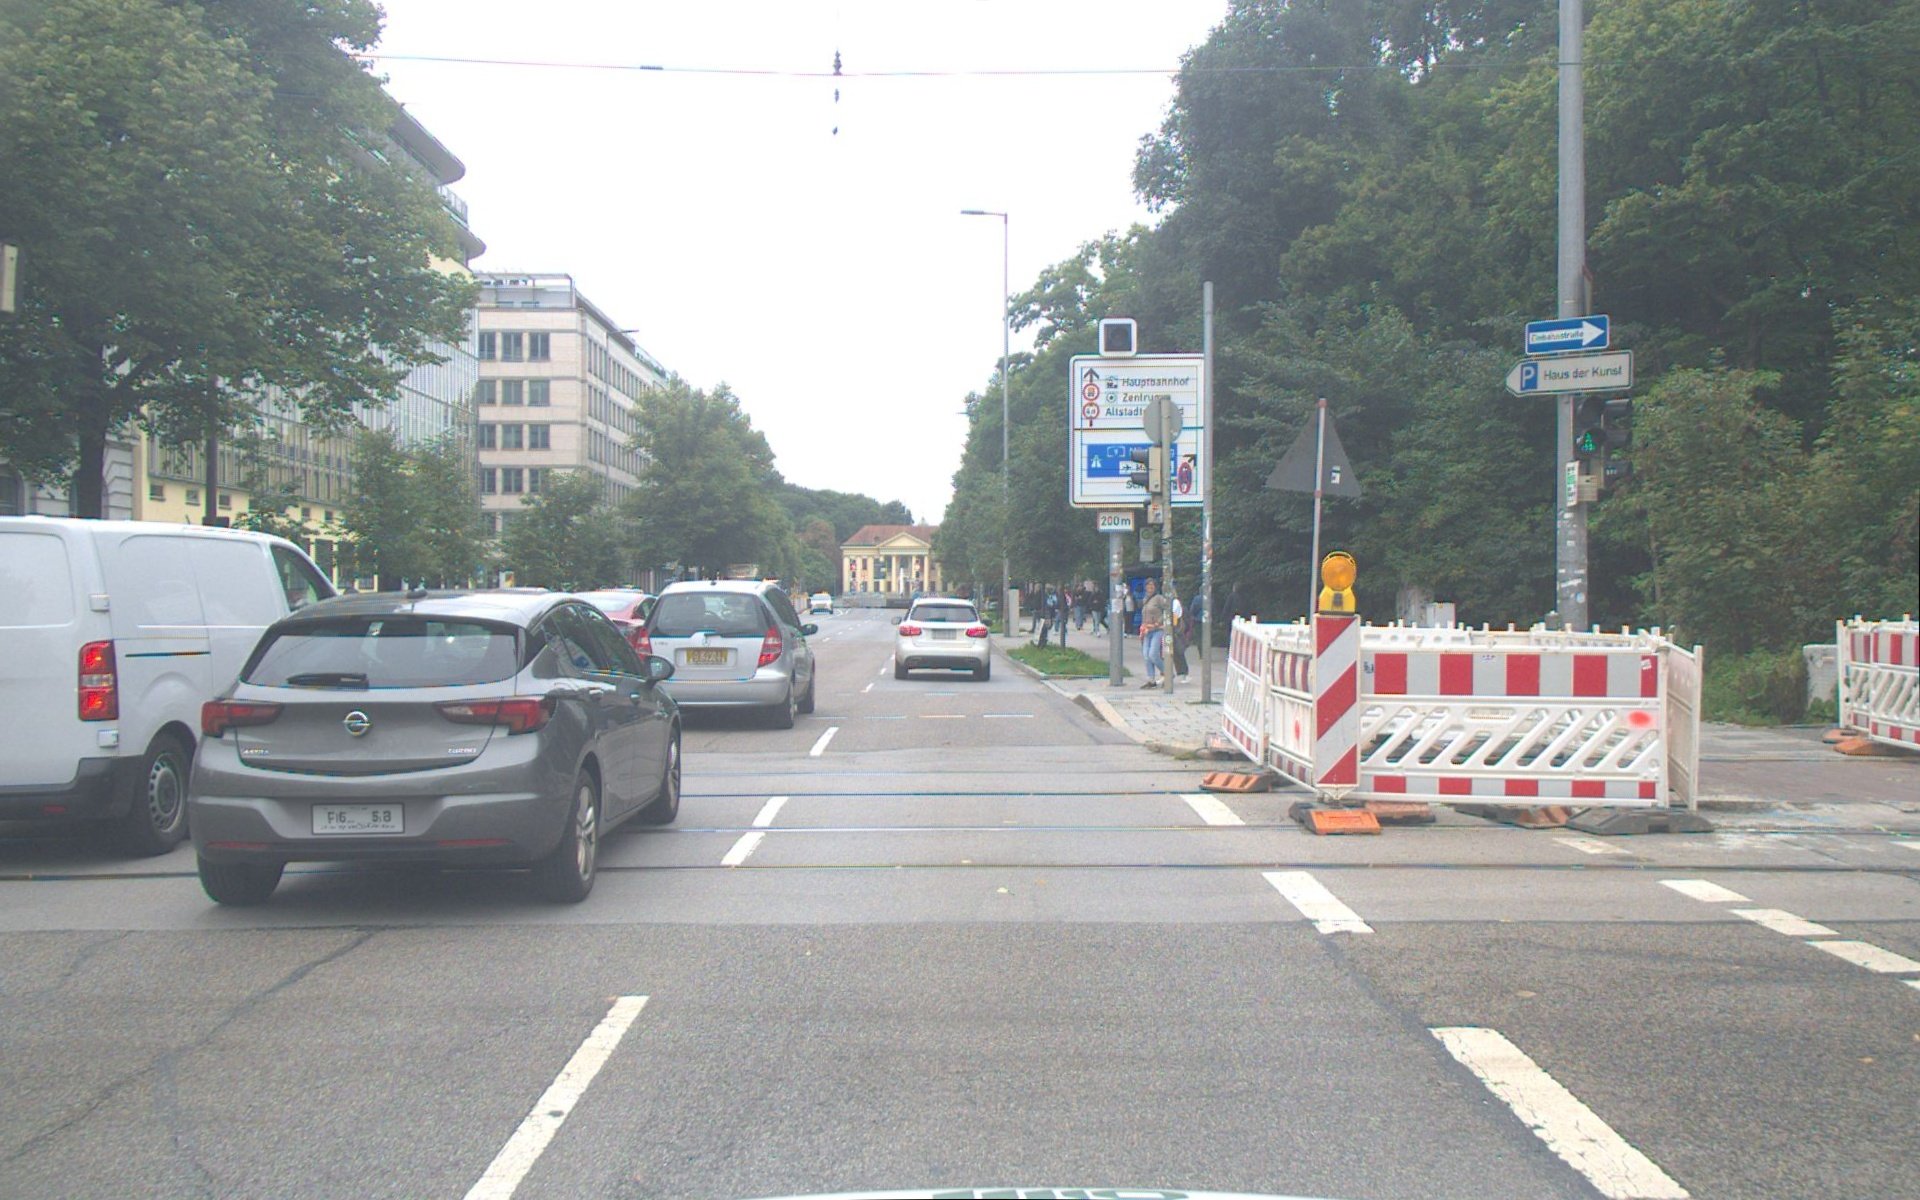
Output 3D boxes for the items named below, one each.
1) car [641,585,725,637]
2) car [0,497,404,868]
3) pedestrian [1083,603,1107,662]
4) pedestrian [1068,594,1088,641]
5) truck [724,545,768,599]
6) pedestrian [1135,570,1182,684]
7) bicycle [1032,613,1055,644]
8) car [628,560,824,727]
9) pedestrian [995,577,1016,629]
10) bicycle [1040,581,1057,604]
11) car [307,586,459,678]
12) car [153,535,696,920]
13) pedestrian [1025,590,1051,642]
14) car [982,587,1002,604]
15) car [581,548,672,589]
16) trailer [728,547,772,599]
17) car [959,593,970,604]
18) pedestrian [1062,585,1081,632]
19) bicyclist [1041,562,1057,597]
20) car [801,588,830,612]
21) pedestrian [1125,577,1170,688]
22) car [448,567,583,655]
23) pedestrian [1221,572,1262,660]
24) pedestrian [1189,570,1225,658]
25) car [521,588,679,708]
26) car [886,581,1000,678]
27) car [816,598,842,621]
[{"bbox_3d":[-8.326,0.296,50.063,1.731,1.448,4.746,-2,0,0],"label":"car"},{"bbox_3d":[-5.361,0.422,10.849,1.860,1.880,4.954,0,0,-1],"label":"car"},{"bbox_3d":[4.552,1.094,55.910,0.693,1.948,0.956,1,0,-1],"label":"pedestrian"},{"bbox_3d":[4.634,0.681,65.084,0.693,1.840,0.950,1,0,-1],"label":"pedestrian"},{"bbox_3d":[-15.913,-2.026,123.607,2.859,3.840,7.658,1,0,-5],"label":"truck"},{"bbox_3d":[3.166,0.426,26.378,0.597,1.791,0.634,0,0,-9],"label":"pedestrian"},{"bbox_3d":[2.272,0.768,45.142,0.483,0.808,1.889,1,0,-1],"label":"bicycle"},{"bbox_3d":[-2.578,0.440,19.055,1.743,1.683,3.999,1,0,-1],"label":"car"},{"bbox_3d":[1.656,0.099,59.747,0.693,1.840,0.639,1,0,-1],"label":"pedestrian"},{"bbox_3d":[4.161,-0.353,78.047,0.661,1.048,2.012,1,0,-1],"label":"bicycle"},{"bbox_3d":[-11.320,0.576,32.723,1.709,1.623,3.998,-2,1,-3],"label":"car"},{"bbox_3d":[-2.551,0.523,8.903,1.675,1.579,3.999,1,0,-1],"label":"car"},{"bbox_3d":[2.944,0.594,62.145,0.790,1.914,0.542,1,0,35],"label":"pedestrian"},{"bbox_3d":[3.076,-0.408,157.498,1.790,1.577,4.751,-1,0,0],"label":"car"},{"bbox_3d":[-21.730,-2.055,107.797,5.569,2.581,2.154,0,0,-5],"label":"car"},{"bbox_3d":[-16.529,-2.086,130.954,2.892,3.805,11.758,1,0,-5],"label":"trailer"},{"bbox_3d":[0.669,-0.235,242.013,1.689,1.346,4.029,0,3,0],"label":"car"},{"bbox_3d":[4.462,0.347,66.188,0.693,1.840,0.639,1,0,-1],"label":"pedestrian"},{"bbox_3d":[4.181,-0.970,78.046,0.693,1.589,0.639,1,0,-1],"label":"bicyclist"},{"bbox_3d":[-11.136,-0.016,127.934,1.819,1.779,4.629,-2,1,-1],"label":"car"},{"bbox_3d":[3.073,0.523,27.135,0.612,1.792,0.635,1,-1,-3],"label":"pedestrian"},{"bbox_3d":[-8.581,0.187,32.227,1.601,1.599,3.945,0,0,-1],"label":"car"},{"bbox_3d":[6.077,0.336,35.715,0.735,1.871,0.756,1,0,0],"label":"pedestrian"},{"bbox_3d":[5.325,0.298,35.679,0.657,1.871,0.641,1,0,0],"label":"pedestrian"},{"bbox_3d":[-5.454,0.670,25.509,1.744,1.683,3.997,1,0,-3],"label":"car"},{"bbox_3d":[-0.386,0.509,31.086,1.745,1.673,3.995,1,0,-6],"label":"car"},{"bbox_3d":[-10.406,0.737,131.631,1.783,1.758,3.881,1,0,-1],"label":"car"}]
